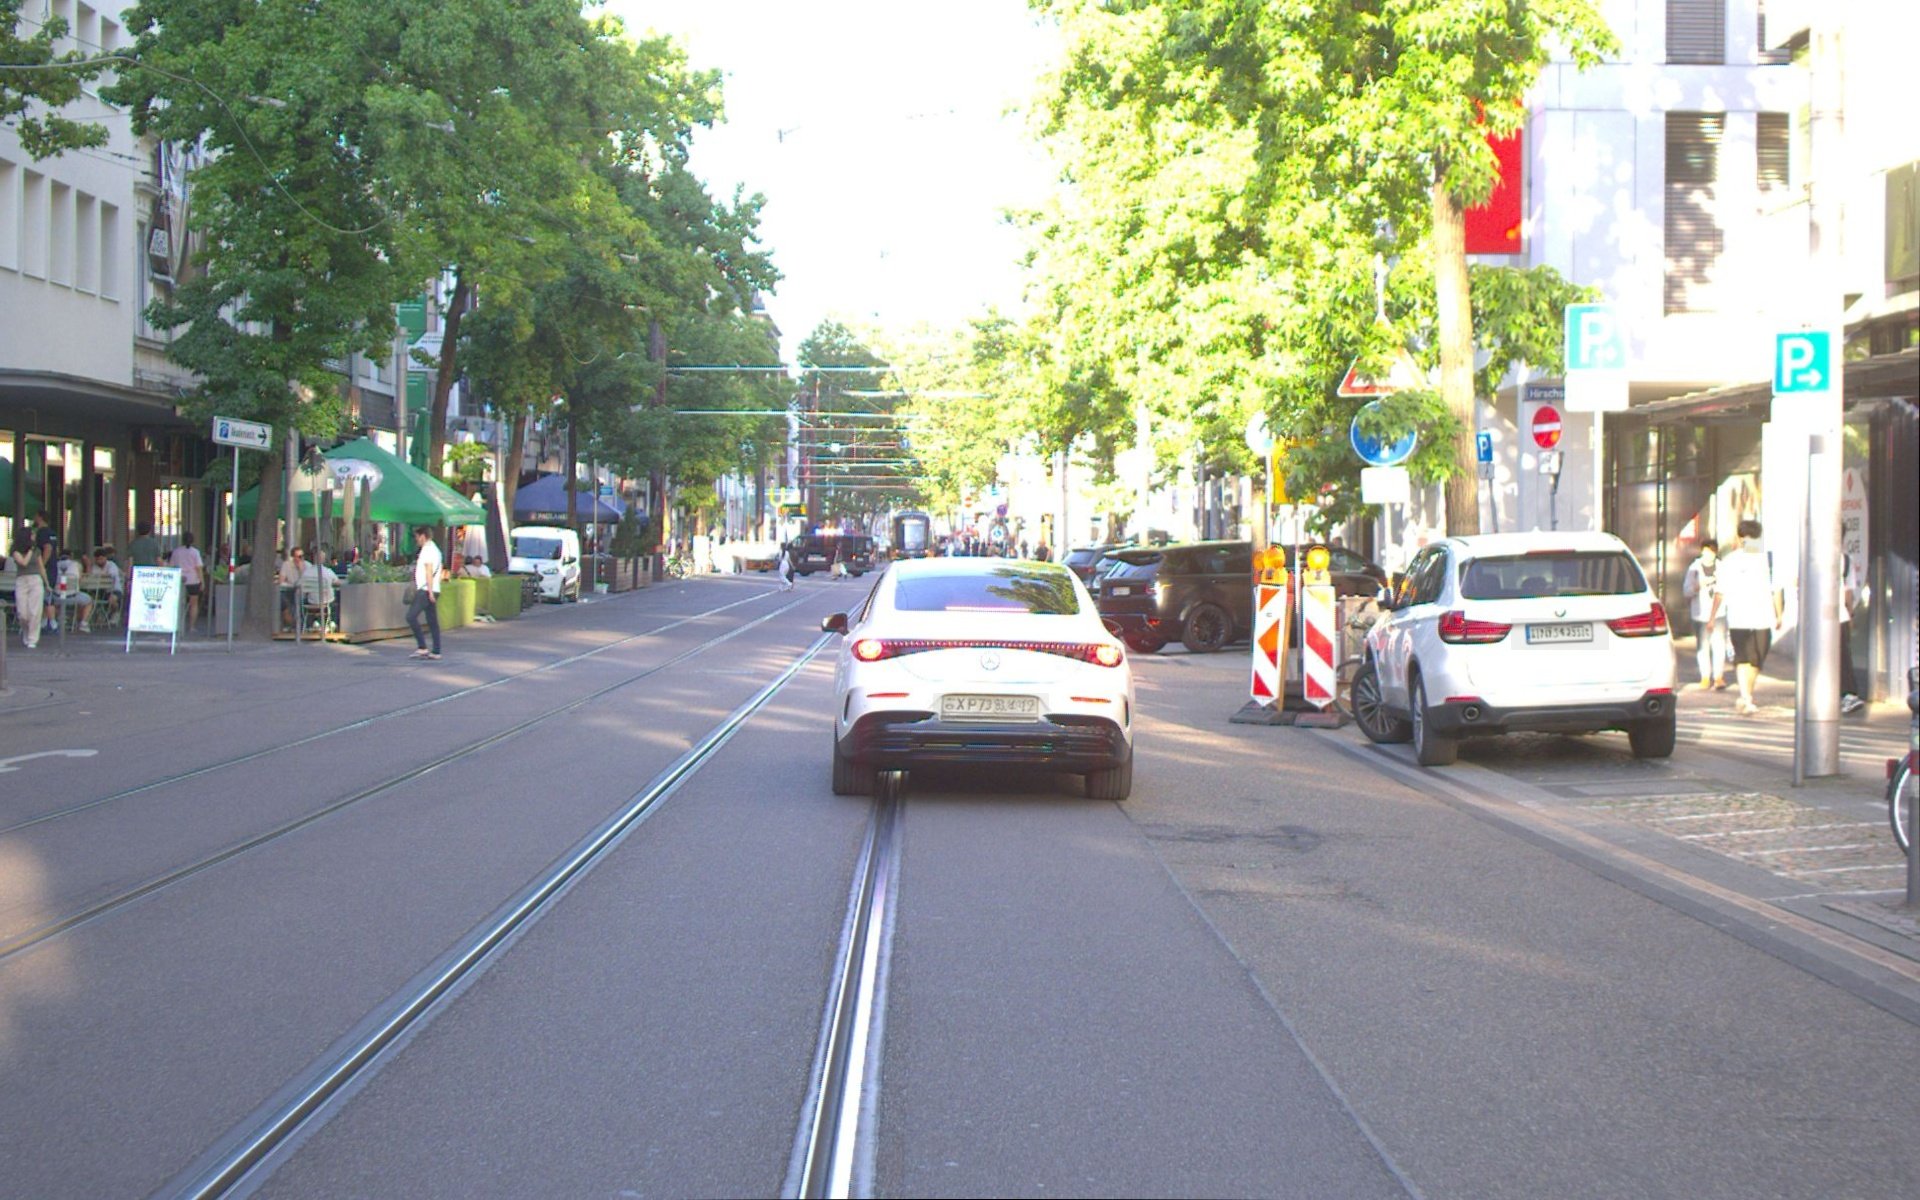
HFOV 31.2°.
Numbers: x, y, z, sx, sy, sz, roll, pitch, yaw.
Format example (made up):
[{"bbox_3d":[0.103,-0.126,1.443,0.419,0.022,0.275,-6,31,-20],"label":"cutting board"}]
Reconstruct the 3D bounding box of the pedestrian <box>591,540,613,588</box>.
[{"bbox_3d":[-10.307,-1.047,98.957,0.549,1.352,0.583,2,1,-1],"label":"pedestrian"}]

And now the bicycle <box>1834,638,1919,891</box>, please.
[{"bbox_3d":[5.030,0.734,15.872,1.813,1.131,0.840,-1,0,7],"label":"bicycle"}]

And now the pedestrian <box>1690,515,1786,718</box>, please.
[{"bbox_3d":[7.093,0.147,31.364,0.705,1.824,0.635,0,1,-1],"label":"pedestrian"}]

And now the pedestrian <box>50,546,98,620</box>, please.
[{"bbox_3d":[-14.295,-0.282,55.484,0.552,1.157,0.687,2,1,0],"label":"pedestrian"}]

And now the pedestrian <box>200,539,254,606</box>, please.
[{"bbox_3d":[-14.138,-0.533,66.315,0.777,1.233,0.945,4,1,-1],"label":"pedestrian"}]

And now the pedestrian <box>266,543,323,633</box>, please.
[{"bbox_3d":[-10.460,-0.198,54.027,0.689,1.382,0.807,2,1,0],"label":"pedestrian"}]

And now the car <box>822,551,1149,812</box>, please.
[{"bbox_3d":[0.125,0.444,22.029,1.857,1.450,4.175,1,1,-1],"label":"car"}]

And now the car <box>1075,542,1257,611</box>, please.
[{"bbox_3d":[5.238,-0.603,87.317,4.235,1.582,1.884,-2,1,-31],"label":"car"}]

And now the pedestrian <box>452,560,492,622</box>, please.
[{"bbox_3d":[-10.184,-0.188,71.796,0.657,1.240,0.873,4,1,-1],"label":"pedestrian"}]

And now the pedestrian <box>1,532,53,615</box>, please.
[{"bbox_3d":[-14.085,-0.405,51.897,0.552,1.231,0.687,2,1,0],"label":"pedestrian"}]

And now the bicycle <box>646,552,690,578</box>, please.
[{"bbox_3d":[-10.985,-1.333,129.273,1.596,0.927,0.377,2,1,7],"label":"bicycle"}]

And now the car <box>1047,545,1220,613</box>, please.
[{"bbox_3d":[4.624,-0.573,91.248,4.342,1.646,1.694,-2,1,-31],"label":"car"}]

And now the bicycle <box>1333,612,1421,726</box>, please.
[{"bbox_3d":[3.834,0.623,31.724,0.493,0.978,1.930,0,1,-2],"label":"bicycle"}]

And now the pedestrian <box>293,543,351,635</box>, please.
[{"bbox_3d":[-9.865,-0.177,53.204,0.689,1.382,0.807,2,1,0],"label":"pedestrian"}]

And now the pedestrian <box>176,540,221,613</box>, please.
[{"bbox_3d":[-14.163,-0.443,63.934,0.619,1.305,0.697,4,1,-1],"label":"pedestrian"}]

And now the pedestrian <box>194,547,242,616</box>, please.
[{"bbox_3d":[-13.544,-0.341,62.792,0.669,1.238,0.799,2,1,-1],"label":"pedestrian"}]

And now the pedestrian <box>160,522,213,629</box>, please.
[{"bbox_3d":[-12.188,-0.389,54.191,0.619,1.665,0.697,2,1,-1],"label":"pedestrian"}]

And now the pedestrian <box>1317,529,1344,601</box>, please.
[{"bbox_3d":[9.091,-0.854,84.422,0.557,1.744,0.525,-2,1,0],"label":"pedestrian"}]

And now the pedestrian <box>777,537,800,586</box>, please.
[{"bbox_3d":[-5.517,-1.246,110.435,0.622,1.545,0.852,3,1,0],"label":"pedestrian"}]

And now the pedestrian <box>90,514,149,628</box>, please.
[{"bbox_3d":[-13.146,-0.454,53.773,0.678,1.751,0.697,2,1,1],"label":"pedestrian"}]

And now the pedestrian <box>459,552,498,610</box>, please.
[{"bbox_3d":[-10.186,-0.401,72.780,0.657,1.189,0.798,4,1,-1],"label":"pedestrian"}]

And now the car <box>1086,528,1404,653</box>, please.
[{"bbox_3d":[4.528,-0.166,54.535,4.651,1.757,1.995,-3,1,-29],"label":"car"}]

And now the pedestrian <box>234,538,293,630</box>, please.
[{"bbox_3d":[-10.761,-0.253,53.141,0.689,1.382,0.807,2,1,0],"label":"pedestrian"}]

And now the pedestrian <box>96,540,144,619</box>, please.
[{"bbox_3d":[-14.099,-0.346,57.717,0.602,1.294,0.687,2,1,0],"label":"pedestrian"}]

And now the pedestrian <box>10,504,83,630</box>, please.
[{"bbox_3d":[-13.459,-0.486,50.653,0.685,1.809,0.763,3,1,15],"label":"pedestrian"}]

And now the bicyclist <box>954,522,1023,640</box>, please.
[{"bbox_3d":[0.408,-0.275,48.442,0.778,1.607,0.912,3,1,9],"label":"bicyclist"}]

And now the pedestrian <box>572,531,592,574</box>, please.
[{"bbox_3d":[-13.560,-1.696,123.247,0.597,1.527,0.671,2,1,0],"label":"pedestrian"}]

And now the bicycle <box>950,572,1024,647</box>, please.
[{"bbox_3d":[0.386,0.124,48.418,0.719,0.992,2.058,3,1,9],"label":"bicycle"}]

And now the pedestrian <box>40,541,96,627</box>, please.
[{"bbox_3d":[-13.662,-0.252,52.656,0.626,1.277,0.727,2,1,0],"label":"pedestrian"}]

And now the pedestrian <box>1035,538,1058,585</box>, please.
[{"bbox_3d":[3.398,-1.526,134.808,0.841,1.795,0.790,2,1,1],"label":"pedestrian"}]

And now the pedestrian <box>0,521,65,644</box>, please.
[{"bbox_3d":[-12.711,-0.245,46.941,0.707,1.650,0.967,0,2,1],"label":"pedestrian"}]

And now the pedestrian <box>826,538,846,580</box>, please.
[{"bbox_3d":[-5.270,-1.754,146.310,0.788,1.795,0.844,1,1,1],"label":"pedestrian"}]

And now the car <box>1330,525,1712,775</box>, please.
[{"bbox_3d":[4.329,0.320,27.340,2.023,1.731,4.907,-2,1,-2],"label":"car"}]

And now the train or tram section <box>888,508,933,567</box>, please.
[{"bbox_3d":[-2.982,-3.828,210.701,2.694,3.504,12.546,0,1,0],"label":"train or tram section"}]

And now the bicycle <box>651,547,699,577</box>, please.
[{"bbox_3d":[-10.965,-1.462,132.347,1.788,1.073,0.377,2,1,-4],"label":"bicycle"}]

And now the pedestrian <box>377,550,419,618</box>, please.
[{"bbox_3d":[-10.708,-0.306,65.501,0.619,1.240,0.697,4,1,-1],"label":"pedestrian"}]

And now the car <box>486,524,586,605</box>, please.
[{"bbox_3d":[-10.534,-0.901,85.698,1.795,1.858,4.553,3,1,1],"label":"car"}]

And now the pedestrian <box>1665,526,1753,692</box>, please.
[{"bbox_3d":[8.696,0.095,39.941,0.834,1.891,0.918,-1,1,2],"label":"pedestrian"}]

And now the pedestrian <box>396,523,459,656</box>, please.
[{"bbox_3d":[-7.060,-0.149,45.603,0.795,1.734,0.866,0,2,-8],"label":"pedestrian"}]

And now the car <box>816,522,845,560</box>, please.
[{"bbox_3d":[-9.841,-4.476,261.401,1.993,2.887,5.275,0,1,0],"label":"car"}]

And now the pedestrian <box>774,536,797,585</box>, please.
[{"bbox_3d":[-5.561,-1.259,109.390,0.622,1.504,0.833,3,1,0],"label":"pedestrian"}]

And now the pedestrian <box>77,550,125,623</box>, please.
[{"bbox_3d":[-13.867,-0.222,55.514,0.552,1.157,0.687,2,1,0],"label":"pedestrian"}]

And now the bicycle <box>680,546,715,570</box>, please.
[{"bbox_3d":[-11.600,-1.860,151.848,1.492,1.025,0.345,2,1,-10],"label":"bicycle"}]

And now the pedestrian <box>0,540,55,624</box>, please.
[{"bbox_3d":[-14.323,-0.278,52.732,0.644,1.265,0.738,2,1,0],"label":"pedestrian"}]

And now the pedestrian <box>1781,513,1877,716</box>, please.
[{"bbox_3d":[7.910,0.129,31.299,0.688,1.824,0.635,0,1,-1],"label":"pedestrian"}]
